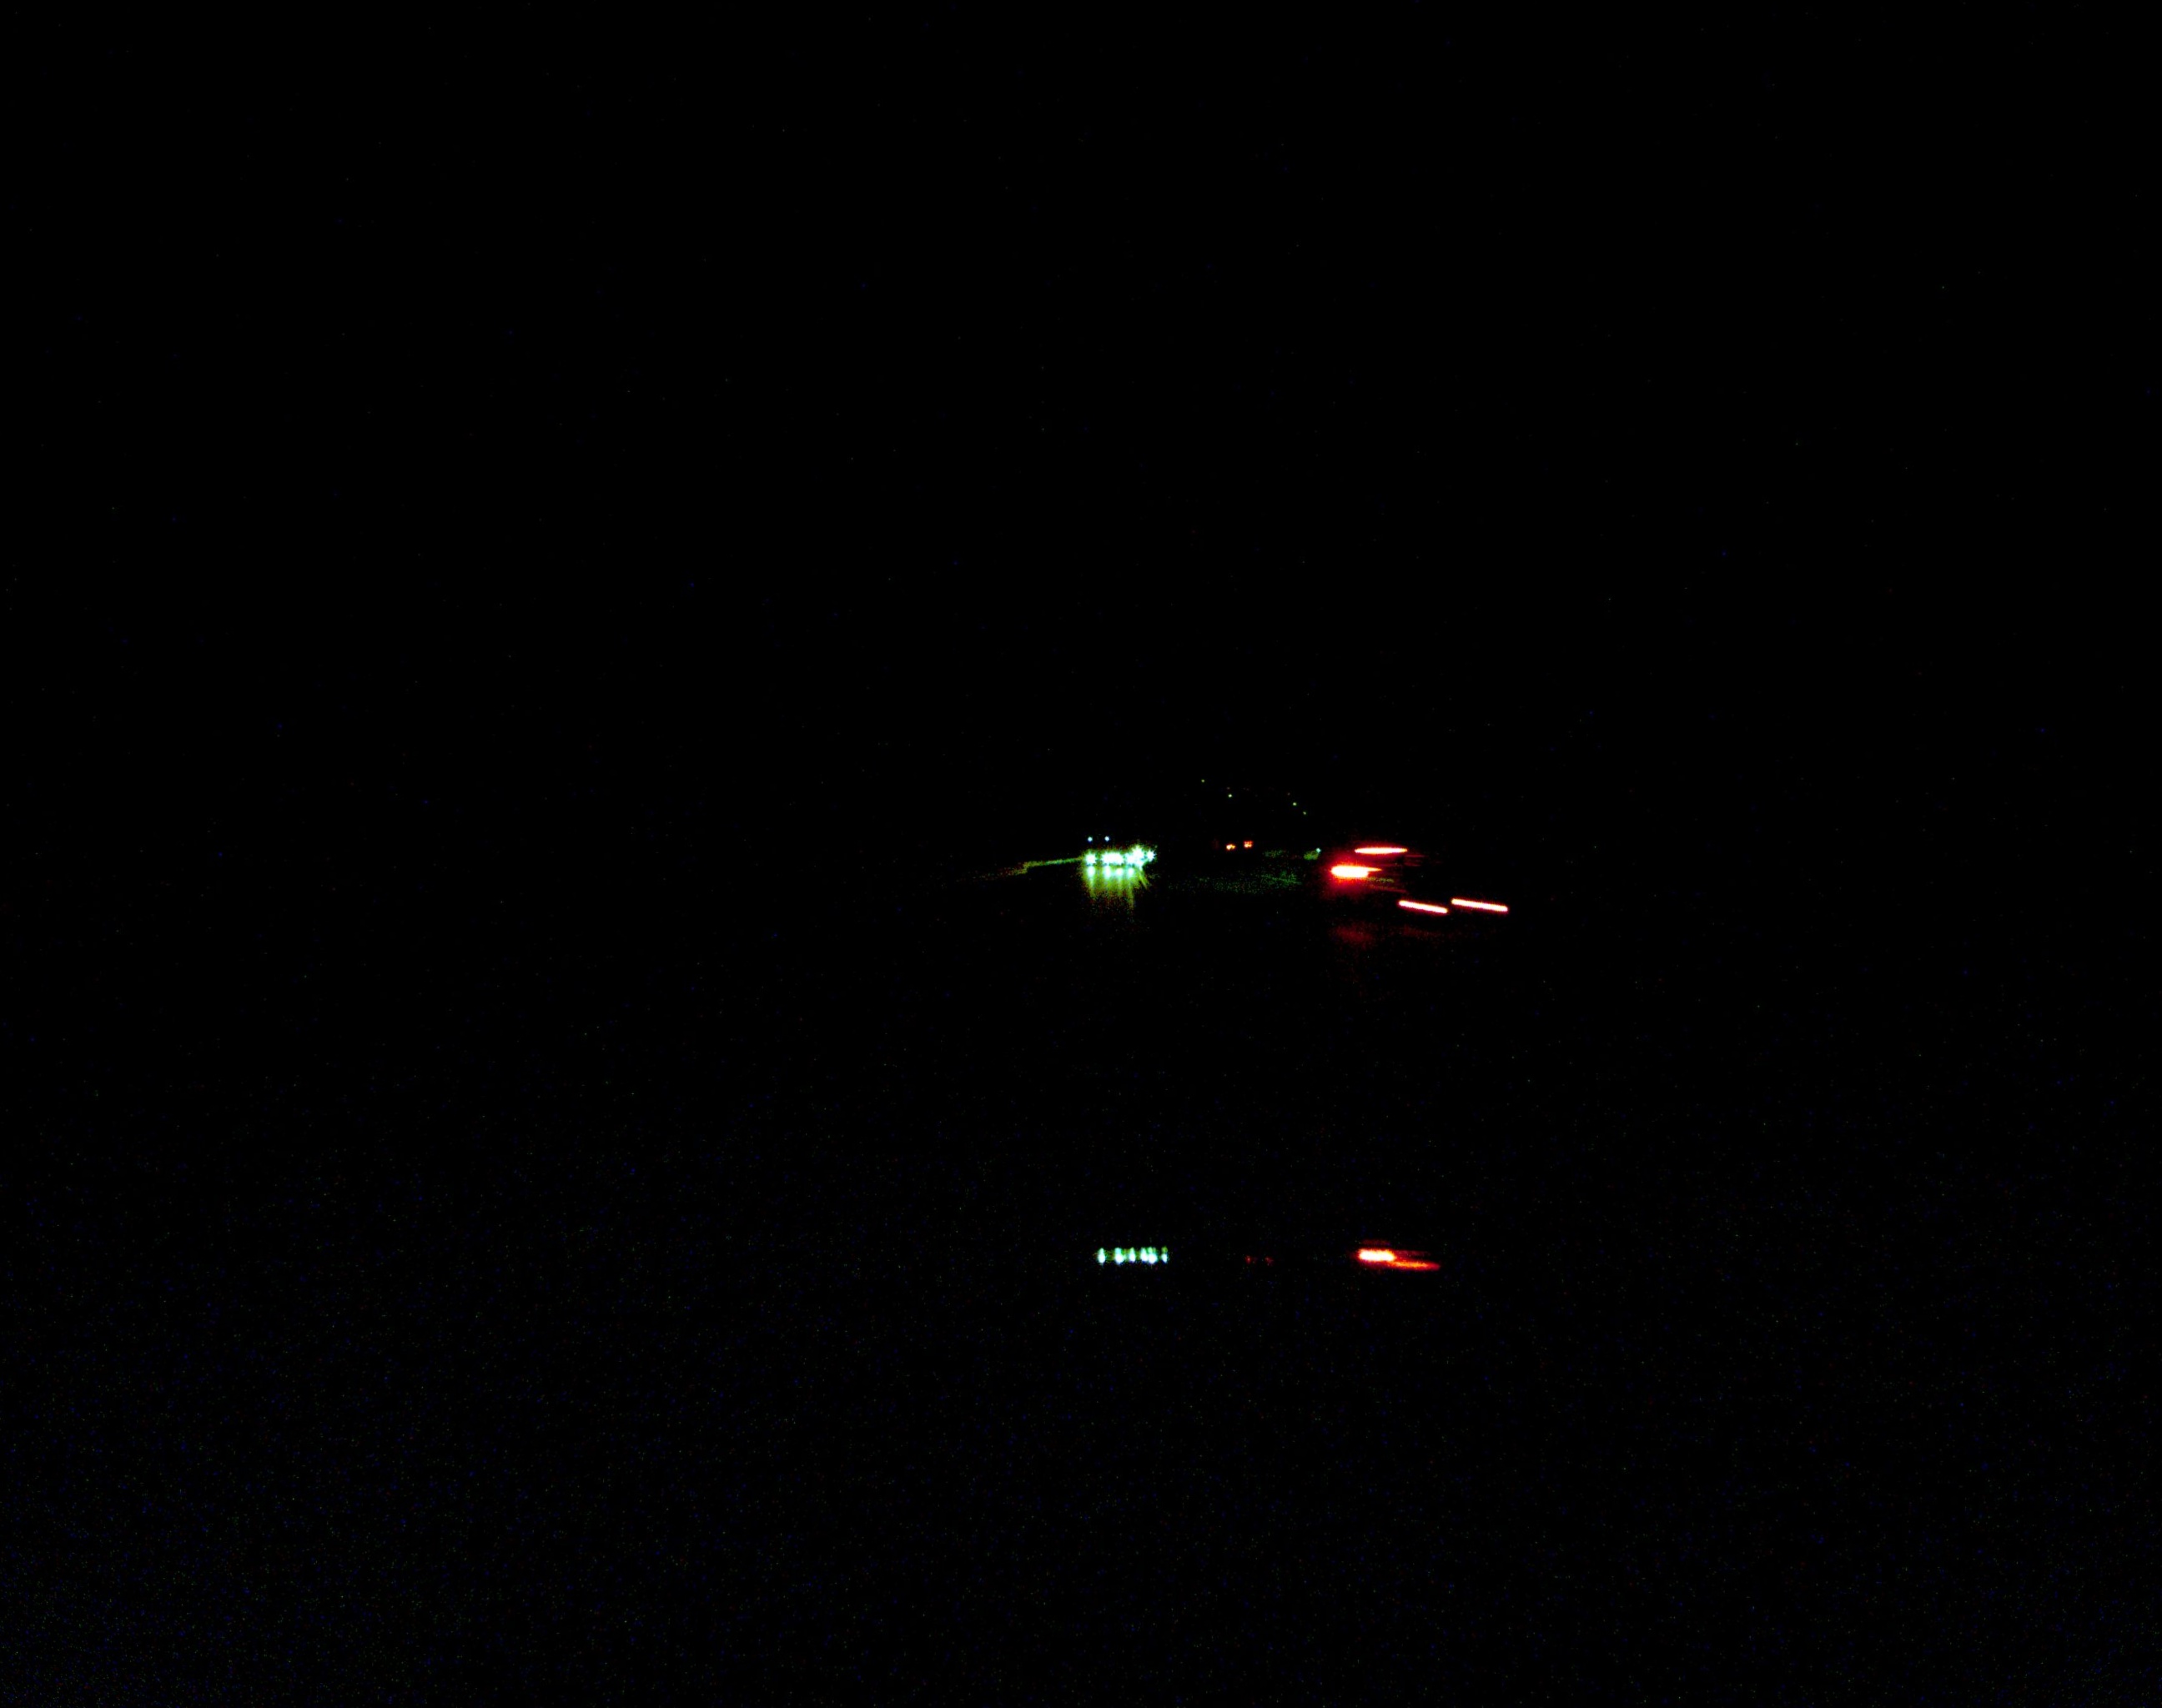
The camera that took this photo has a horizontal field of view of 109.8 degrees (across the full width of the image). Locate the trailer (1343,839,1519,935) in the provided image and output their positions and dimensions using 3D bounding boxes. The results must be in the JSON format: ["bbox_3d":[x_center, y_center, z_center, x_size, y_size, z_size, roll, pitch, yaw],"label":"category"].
[{"bbox_3d":[6.674,0.581,14.926,2.017,1.630,3.418,-1,0,3],"label":"trailer"}]

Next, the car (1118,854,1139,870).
[{"bbox_3d":[4.798,0.757,76.184,1.811,1.508,3.938,-1,-1,8],"label":"car"}]

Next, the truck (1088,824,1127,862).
[{"bbox_3d":[3.586,-1.473,95.605,2.970,4.250,17.151,-1,1,8],"label":"truck"}]

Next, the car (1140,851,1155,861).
[{"bbox_3d":[10.084,0.274,115.532,1.811,1.508,3.939,-1,-1,11],"label":"car"}]

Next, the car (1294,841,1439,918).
[{"bbox_3d":[6.943,0.555,19.092,2.017,1.630,4.864,-1,0,3],"label":"car"}]

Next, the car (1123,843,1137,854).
[{"bbox_3d":[7.904,-0.863,122.387,1.690,1.620,4.725,-1,1,10],"label":"car"}]

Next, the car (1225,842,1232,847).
[{"bbox_3d":[48.808,-3.106,250.797,1.810,1.508,3.940,-1,-1,16],"label":"car"}]

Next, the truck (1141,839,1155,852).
[{"bbox_3d":[13.014,-1.652,147.930,2.425,2.410,7.094,-1,0,7],"label":"truck"}]
